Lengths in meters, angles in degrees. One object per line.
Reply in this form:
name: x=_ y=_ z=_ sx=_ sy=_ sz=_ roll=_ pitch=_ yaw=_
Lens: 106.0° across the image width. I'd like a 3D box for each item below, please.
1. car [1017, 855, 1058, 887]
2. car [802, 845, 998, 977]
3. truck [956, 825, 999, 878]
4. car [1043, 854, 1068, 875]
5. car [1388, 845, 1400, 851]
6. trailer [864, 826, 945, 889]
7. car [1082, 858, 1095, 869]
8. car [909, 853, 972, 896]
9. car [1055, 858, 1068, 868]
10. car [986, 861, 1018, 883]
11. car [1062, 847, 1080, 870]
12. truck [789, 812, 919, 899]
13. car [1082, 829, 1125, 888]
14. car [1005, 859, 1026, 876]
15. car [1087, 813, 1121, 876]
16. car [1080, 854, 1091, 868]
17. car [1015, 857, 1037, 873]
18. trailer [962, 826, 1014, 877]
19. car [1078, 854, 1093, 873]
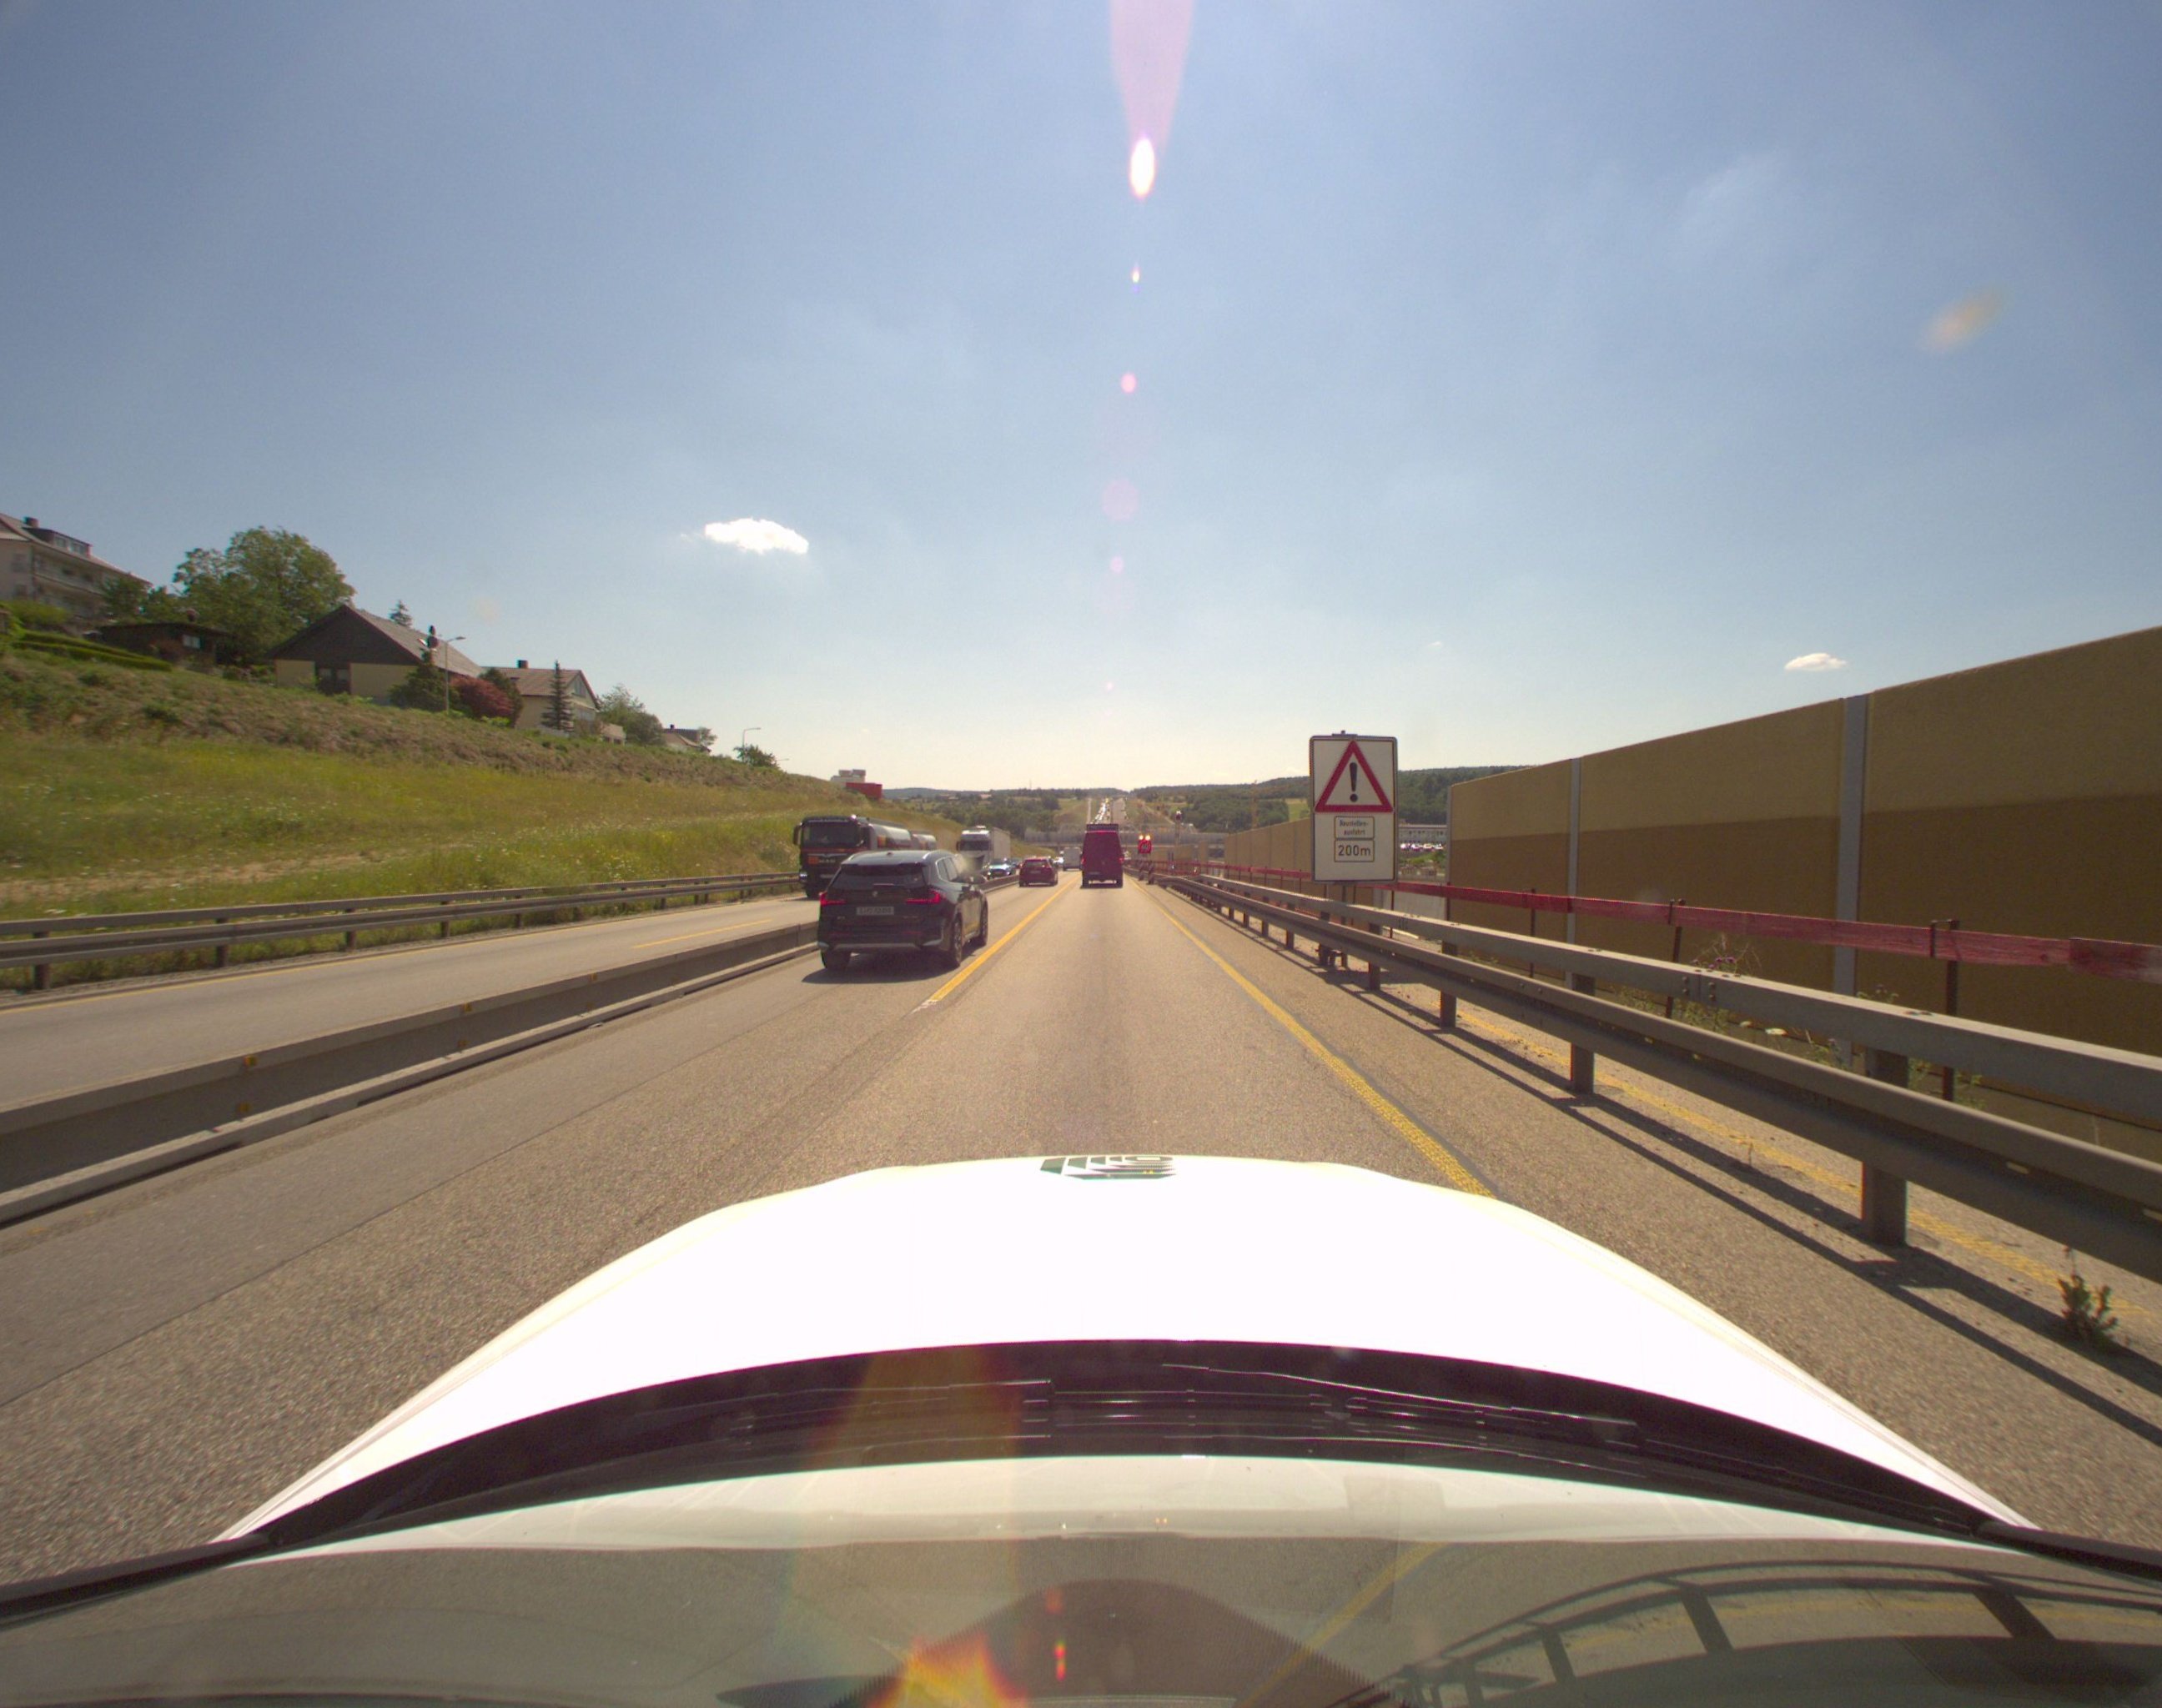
car: x=-2.188 y=0.850 z=41.884 sx=1.769 sy=1.517 sz=4.207 roll=-1 pitch=0 yaw=1
car: x=-2.506 y=0.733 z=12.504 sx=1.873 sy=1.618 sz=4.500 roll=-1 pitch=0 yaw=1
truck: x=-8.496 y=-0.180 z=67.415 sx=2.736 sy=4.182 sz=5.289 roll=-1 pitch=0 yaw=1
car: x=-2.109 y=0.877 z=67.650 sx=1.833 sy=1.654 sz=4.165 roll=-1 pitch=0 yaw=1
car: x=79.352 y=-1.472 z=206.472 sx=1.673 sy=1.517 sz=4.078 roll=0 pitch=-1 yaw=3
trailer: x=-8.898 y=0.163 z=41.824 sx=2.603 sy=3.001 sz=6.372 roll=0 pitch=0 yaw=1
car: x=1.161 y=1.394 z=121.555 sx=1.769 sy=1.670 sz=4.029 roll=-1 pitch=0 yaw=1
car: x=-5.807 y=0.805 z=34.179 sx=1.712 sy=1.635 sz=4.501 roll=0 pitch=0 yaw=1
car: x=-3.142 y=1.428 z=133.018 sx=1.833 sy=1.654 sz=5.371 roll=-1 pitch=0 yaw=1
car: x=-5.351 y=1.216 z=55.588 sx=1.660 sy=1.394 sz=3.905 roll=-1 pitch=0 yaw=1
car: x=-1.040 y=0.484 z=88.649 sx=1.769 sy=2.441 sz=4.207 roll=-1 pitch=-1 yaw=1
truck: x=-9.127 y=0.062 z=34.045 sx=2.716 sy=3.143 sz=8.962 roll=0 pitch=0 yaw=1
car: x=1.099 y=0.224 z=40.183 sx=1.981 sy=2.690 sz=4.624 roll=-1 pitch=-1 yaw=1
car: x=-7.923 y=1.647 z=99.542 sx=2.031 sy=1.926 sz=5.121 roll=-2 pitch=0 yaw=1
car: x=1.938 y=-0.717 z=70.326 sx=2.611 sy=5.032 sz=10.399 roll=-1 pitch=0 yaw=1
car: x=0.822 y=1.242 z=141.513 sx=1.769 sy=2.330 sz=4.207 roll=-1 pitch=0 yaw=1
car: x=-5.136 y=1.017 z=76.805 sx=1.663 sy=1.466 sz=4.001 roll=-1 pitch=0 yaw=1
trailer: x=-8.339 y=-0.185 z=74.890 sx=2.776 sy=4.182 sz=13.981 roll=-1 pitch=0 yaw=1
car: x=0.571 y=1.148 z=103.988 sx=1.769 sy=2.330 sz=4.207 roll=-1 pitch=0 yaw=1
